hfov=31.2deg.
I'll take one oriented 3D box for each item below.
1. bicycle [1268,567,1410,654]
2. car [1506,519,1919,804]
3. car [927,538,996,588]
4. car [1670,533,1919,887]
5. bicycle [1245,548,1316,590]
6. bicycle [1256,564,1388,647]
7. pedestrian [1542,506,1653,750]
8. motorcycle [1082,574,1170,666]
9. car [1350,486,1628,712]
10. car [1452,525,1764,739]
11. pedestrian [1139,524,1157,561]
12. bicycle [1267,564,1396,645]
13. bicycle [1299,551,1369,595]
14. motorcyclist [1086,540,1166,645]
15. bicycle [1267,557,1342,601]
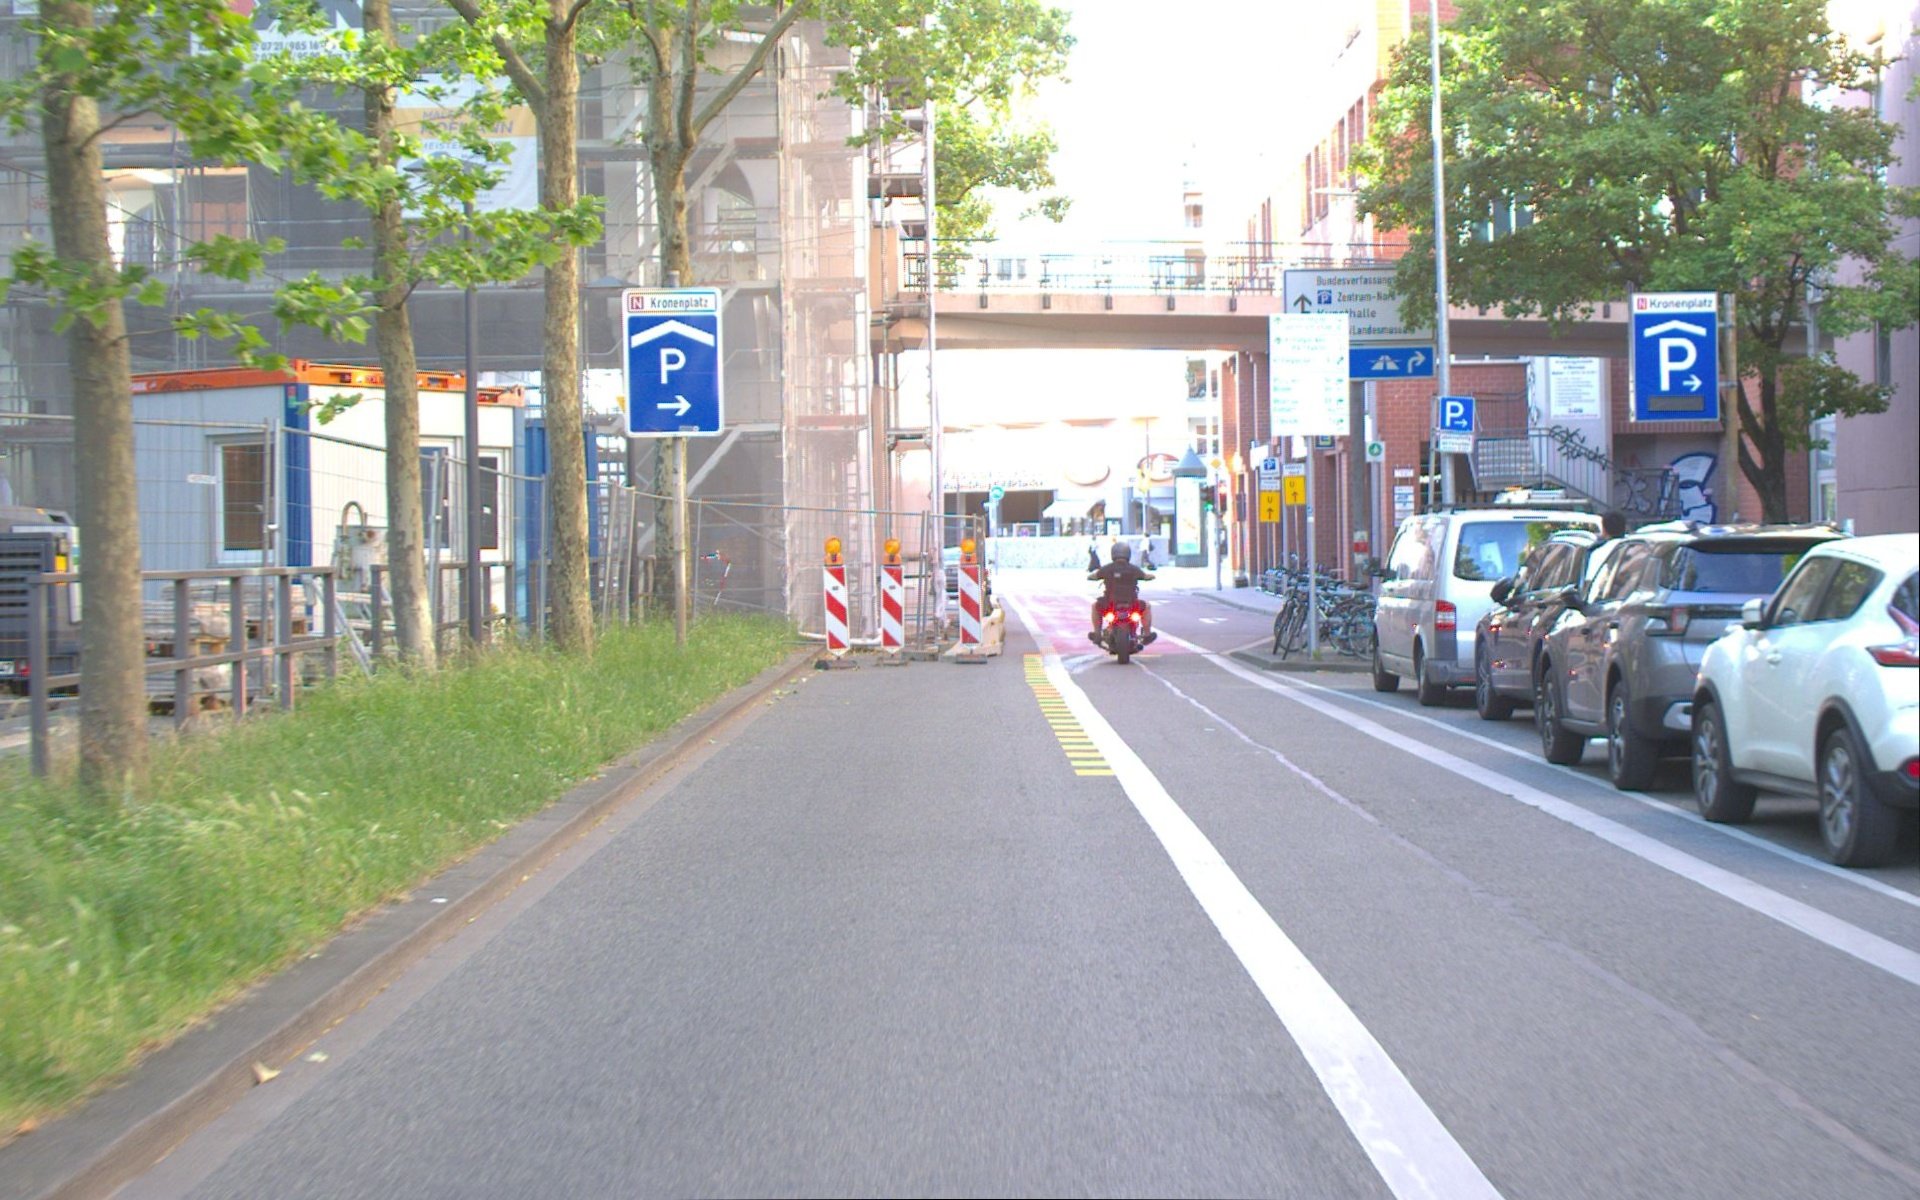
[{"bbox_3d":[4.729,0.125,42.911,1.679,1.064,0.511,0,1,23],"label":"bicycle"},{"bbox_3d":[4.864,0.318,22.571,1.787,1.664,4.440,-1,1,-1],"label":"car"},{"bbox_3d":[0.023,-1.078,99.646,1.923,1.384,4.000,-1,1,-1],"label":"car"},{"bbox_3d":[4.965,0.454,17.493,1.828,1.573,4.000,-1,1,-1],"label":"car"},{"bbox_3d":[8.841,-0.859,94.872,1.891,1.115,0.475,-1,1,0],"label":"bicycle"},{"bbox_3d":[4.748,0.067,45.149,1.681,1.064,0.500,1,1,34],"label":"bicycle"},{"bbox_3d":[4.817,0.204,26.002,0.660,1.806,0.716,-1,1,-2],"label":"pedestrian"},{"bbox_3d":[2.151,0.246,44.890,0.973,1.128,2.805,0,1,-1],"label":"motorcycle"},{"bbox_3d":[5.206,-0.062,34.500,1.918,2.071,5.171,-1,1,-1],"label":"car"},{"bbox_3d":[5.395,0.210,29.122,1.787,1.664,4.200,-1,1,-1],"label":"car"},{"bbox_3d":[8.238,-2.520,150.690,0.539,1.578,0.557,-2,2,-43],"label":"pedestrian"},{"bbox_3d":[4.967,0.050,46.037,1.681,1.064,0.500,1,1,34],"label":"bicycle"},{"bbox_3d":[9.133,-0.660,83.914,1.611,0.951,0.555,-3,1,2],"label":"bicycle"},{"bbox_3d":[2.153,-0.100,44.797,0.970,1.342,1.138,0,1,-1],"label":"motorcyclist"},{"bbox_3d":[9.114,-0.554,91.008,1.891,1.115,0.550,-1,1,0],"label":"bicycle"}]
